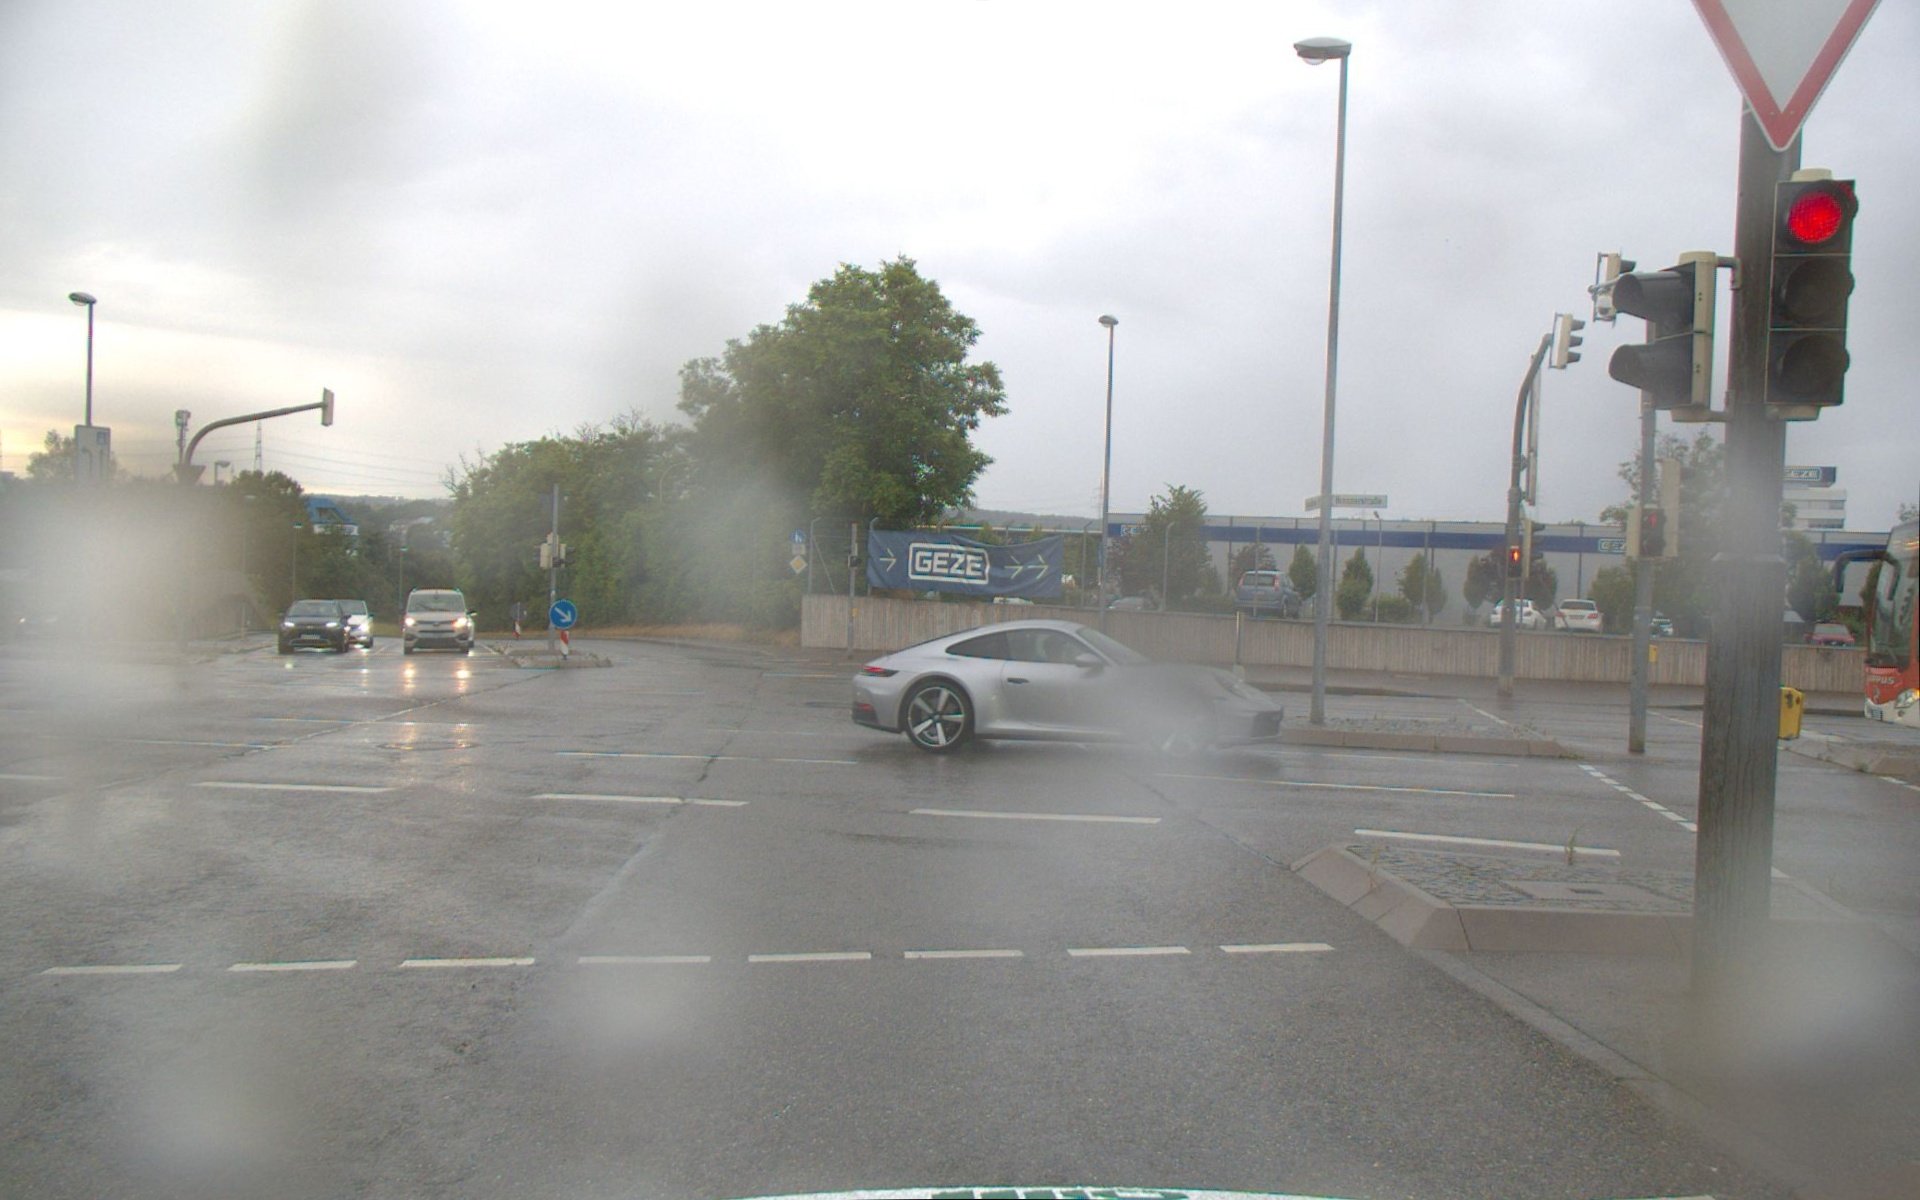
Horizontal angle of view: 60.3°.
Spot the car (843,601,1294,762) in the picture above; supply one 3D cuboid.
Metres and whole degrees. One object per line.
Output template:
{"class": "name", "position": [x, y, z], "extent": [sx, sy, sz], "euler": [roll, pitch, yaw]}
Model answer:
{"class": "car", "position": [1.171, 0.764, 16.889], "extent": [4.337, 1.382, 1.858], "euler": [2, 0, 12]}

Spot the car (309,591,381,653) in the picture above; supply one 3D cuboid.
{"class": "car", "position": [-20.418, 0.703, 55.026], "extent": [1.962, 1.928, 3.981], "euler": [1, 0, -17]}

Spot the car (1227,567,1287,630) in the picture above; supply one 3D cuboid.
{"class": "car", "position": [10.396, -0.054, 57.842], "extent": [1.951, 2.049, 4.003], "euler": [1, 0, 11]}

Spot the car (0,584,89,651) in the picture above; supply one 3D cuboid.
{"class": "car", "position": [-28.477, 0.516, 51.157], "extent": [1.962, 1.928, 3.981], "euler": [1, 0, -18]}

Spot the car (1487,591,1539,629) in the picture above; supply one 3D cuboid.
{"class": "car", "position": [22.963, 0.400, 68.645], "extent": [1.952, 1.504, 4.001], "euler": [2, 0, 19]}

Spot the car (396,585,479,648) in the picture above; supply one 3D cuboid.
{"class": "car", "position": [-14.878, 0.448, 47.278], "extent": [1.960, 1.646, 3.986], "euler": [1, 1, -14]}

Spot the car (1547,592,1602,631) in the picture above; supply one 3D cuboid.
{"class": "car", "position": [25.259, 0.469, 68.057], "extent": [1.952, 1.504, 4.001], "euler": [2, 0, 19]}

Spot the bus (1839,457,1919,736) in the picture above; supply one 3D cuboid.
{"class": "bus", "position": [17.649, 0.218, 19.878], "extent": [12.020, 3.379, 3.076], "euler": [3, 1, 17]}

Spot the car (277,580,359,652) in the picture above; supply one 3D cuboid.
{"class": "car", "position": [-18.564, 0.433, 47.982], "extent": [1.963, 1.928, 3.979], "euler": [1, 0, -19]}
